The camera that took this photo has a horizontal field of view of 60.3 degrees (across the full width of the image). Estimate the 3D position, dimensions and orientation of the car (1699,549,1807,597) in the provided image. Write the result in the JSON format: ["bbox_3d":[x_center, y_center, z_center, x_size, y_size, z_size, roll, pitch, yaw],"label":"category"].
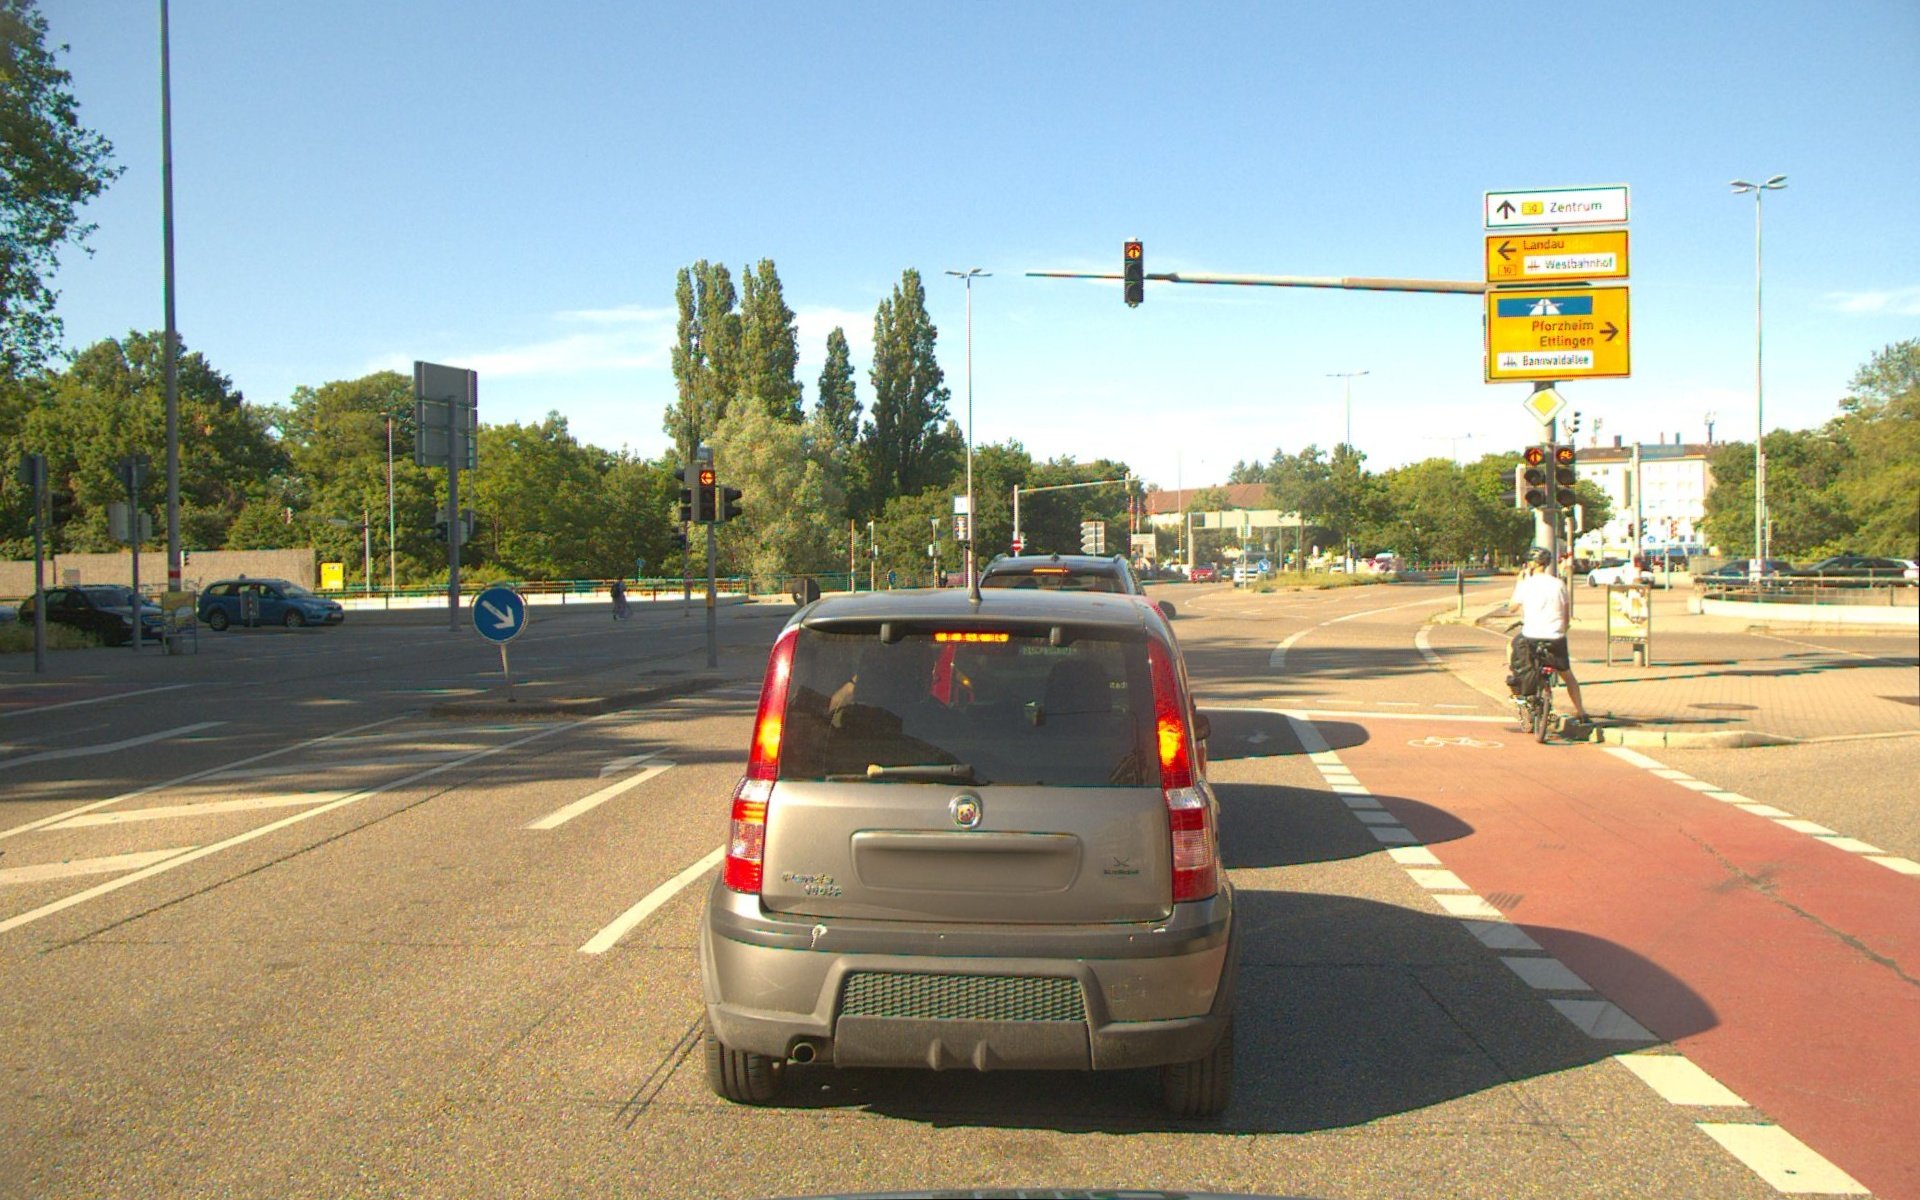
[{"bbox_3d":[35.252,-1.166,73.720,1.975,1.887,4.877,0,-1,-8],"label":"car"}]

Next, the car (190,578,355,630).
[{"bbox_3d":[-20.703,0.111,49.857,4.342,1.464,1.828,-1,1,14],"label":"car"}]

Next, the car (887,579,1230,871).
[{"bbox_3d":[0.591,0.640,10.720,1.782,1.505,4.001,1,0,2],"label":"car"}]

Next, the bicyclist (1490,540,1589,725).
[{"bbox_3d":[5.663,0.284,16.140,0.783,1.734,1.084,1,2,26],"label":"bicyclist"}]

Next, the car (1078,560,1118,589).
[{"bbox_3d":[10.028,-1.815,119.523,1.970,1.887,4.433,0,-2,17],"label":"car"}]

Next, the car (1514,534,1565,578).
[{"bbox_3d":[38.770,-2.885,110.646,2.213,2.653,4.873,-1,-2,32],"label":"car"}]

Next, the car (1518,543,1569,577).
[{"bbox_3d":[33.088,-2.245,93.865,1.951,1.781,4.003,0,-1,8],"label":"car"}]

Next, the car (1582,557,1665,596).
[{"bbox_3d":[33.178,-1.145,82.859,1.959,1.781,3.987,1,-1,-13],"label":"car"}]

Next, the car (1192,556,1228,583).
[{"bbox_3d":[20.120,-2.428,133.023,1.971,1.887,4.886,0,-2,20],"label":"car"}]

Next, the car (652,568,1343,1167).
[{"bbox_3d":[0.190,0.670,6.357,1.782,1.515,4.002,2,1,3],"label":"car"}]

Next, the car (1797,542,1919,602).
[{"bbox_3d":[33.204,-0.997,60.942,3.922,2.049,1.991,-1,-2,38],"label":"car"}]

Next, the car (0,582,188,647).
[{"bbox_3d":[-21.011,0.353,39.919,4.345,1.464,1.826,-1,1,22],"label":"car"}]

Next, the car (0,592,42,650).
[{"bbox_3d":[-26.407,0.562,43.266,4.345,1.464,1.826,-1,1,22],"label":"car"}]

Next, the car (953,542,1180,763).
[{"bbox_3d":[1.179,0.392,16.108,1.829,1.821,4.418,1,1,8],"label":"car"}]

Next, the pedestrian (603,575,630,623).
[{"bbox_3d":[-11.751,-0.035,56.683,0.673,1.565,1.365,0,-3,-3],"label":"pedestrian"}]

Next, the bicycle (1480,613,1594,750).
[{"bbox_3d":[5.666,0.746,16.158,0.783,1.130,2.400,1,2,26],"label":"bicycle"}]

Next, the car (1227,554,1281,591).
[{"bbox_3d":[16.881,-1.548,94.849,1.972,1.887,4.884,0,-2,23],"label":"car"}]
